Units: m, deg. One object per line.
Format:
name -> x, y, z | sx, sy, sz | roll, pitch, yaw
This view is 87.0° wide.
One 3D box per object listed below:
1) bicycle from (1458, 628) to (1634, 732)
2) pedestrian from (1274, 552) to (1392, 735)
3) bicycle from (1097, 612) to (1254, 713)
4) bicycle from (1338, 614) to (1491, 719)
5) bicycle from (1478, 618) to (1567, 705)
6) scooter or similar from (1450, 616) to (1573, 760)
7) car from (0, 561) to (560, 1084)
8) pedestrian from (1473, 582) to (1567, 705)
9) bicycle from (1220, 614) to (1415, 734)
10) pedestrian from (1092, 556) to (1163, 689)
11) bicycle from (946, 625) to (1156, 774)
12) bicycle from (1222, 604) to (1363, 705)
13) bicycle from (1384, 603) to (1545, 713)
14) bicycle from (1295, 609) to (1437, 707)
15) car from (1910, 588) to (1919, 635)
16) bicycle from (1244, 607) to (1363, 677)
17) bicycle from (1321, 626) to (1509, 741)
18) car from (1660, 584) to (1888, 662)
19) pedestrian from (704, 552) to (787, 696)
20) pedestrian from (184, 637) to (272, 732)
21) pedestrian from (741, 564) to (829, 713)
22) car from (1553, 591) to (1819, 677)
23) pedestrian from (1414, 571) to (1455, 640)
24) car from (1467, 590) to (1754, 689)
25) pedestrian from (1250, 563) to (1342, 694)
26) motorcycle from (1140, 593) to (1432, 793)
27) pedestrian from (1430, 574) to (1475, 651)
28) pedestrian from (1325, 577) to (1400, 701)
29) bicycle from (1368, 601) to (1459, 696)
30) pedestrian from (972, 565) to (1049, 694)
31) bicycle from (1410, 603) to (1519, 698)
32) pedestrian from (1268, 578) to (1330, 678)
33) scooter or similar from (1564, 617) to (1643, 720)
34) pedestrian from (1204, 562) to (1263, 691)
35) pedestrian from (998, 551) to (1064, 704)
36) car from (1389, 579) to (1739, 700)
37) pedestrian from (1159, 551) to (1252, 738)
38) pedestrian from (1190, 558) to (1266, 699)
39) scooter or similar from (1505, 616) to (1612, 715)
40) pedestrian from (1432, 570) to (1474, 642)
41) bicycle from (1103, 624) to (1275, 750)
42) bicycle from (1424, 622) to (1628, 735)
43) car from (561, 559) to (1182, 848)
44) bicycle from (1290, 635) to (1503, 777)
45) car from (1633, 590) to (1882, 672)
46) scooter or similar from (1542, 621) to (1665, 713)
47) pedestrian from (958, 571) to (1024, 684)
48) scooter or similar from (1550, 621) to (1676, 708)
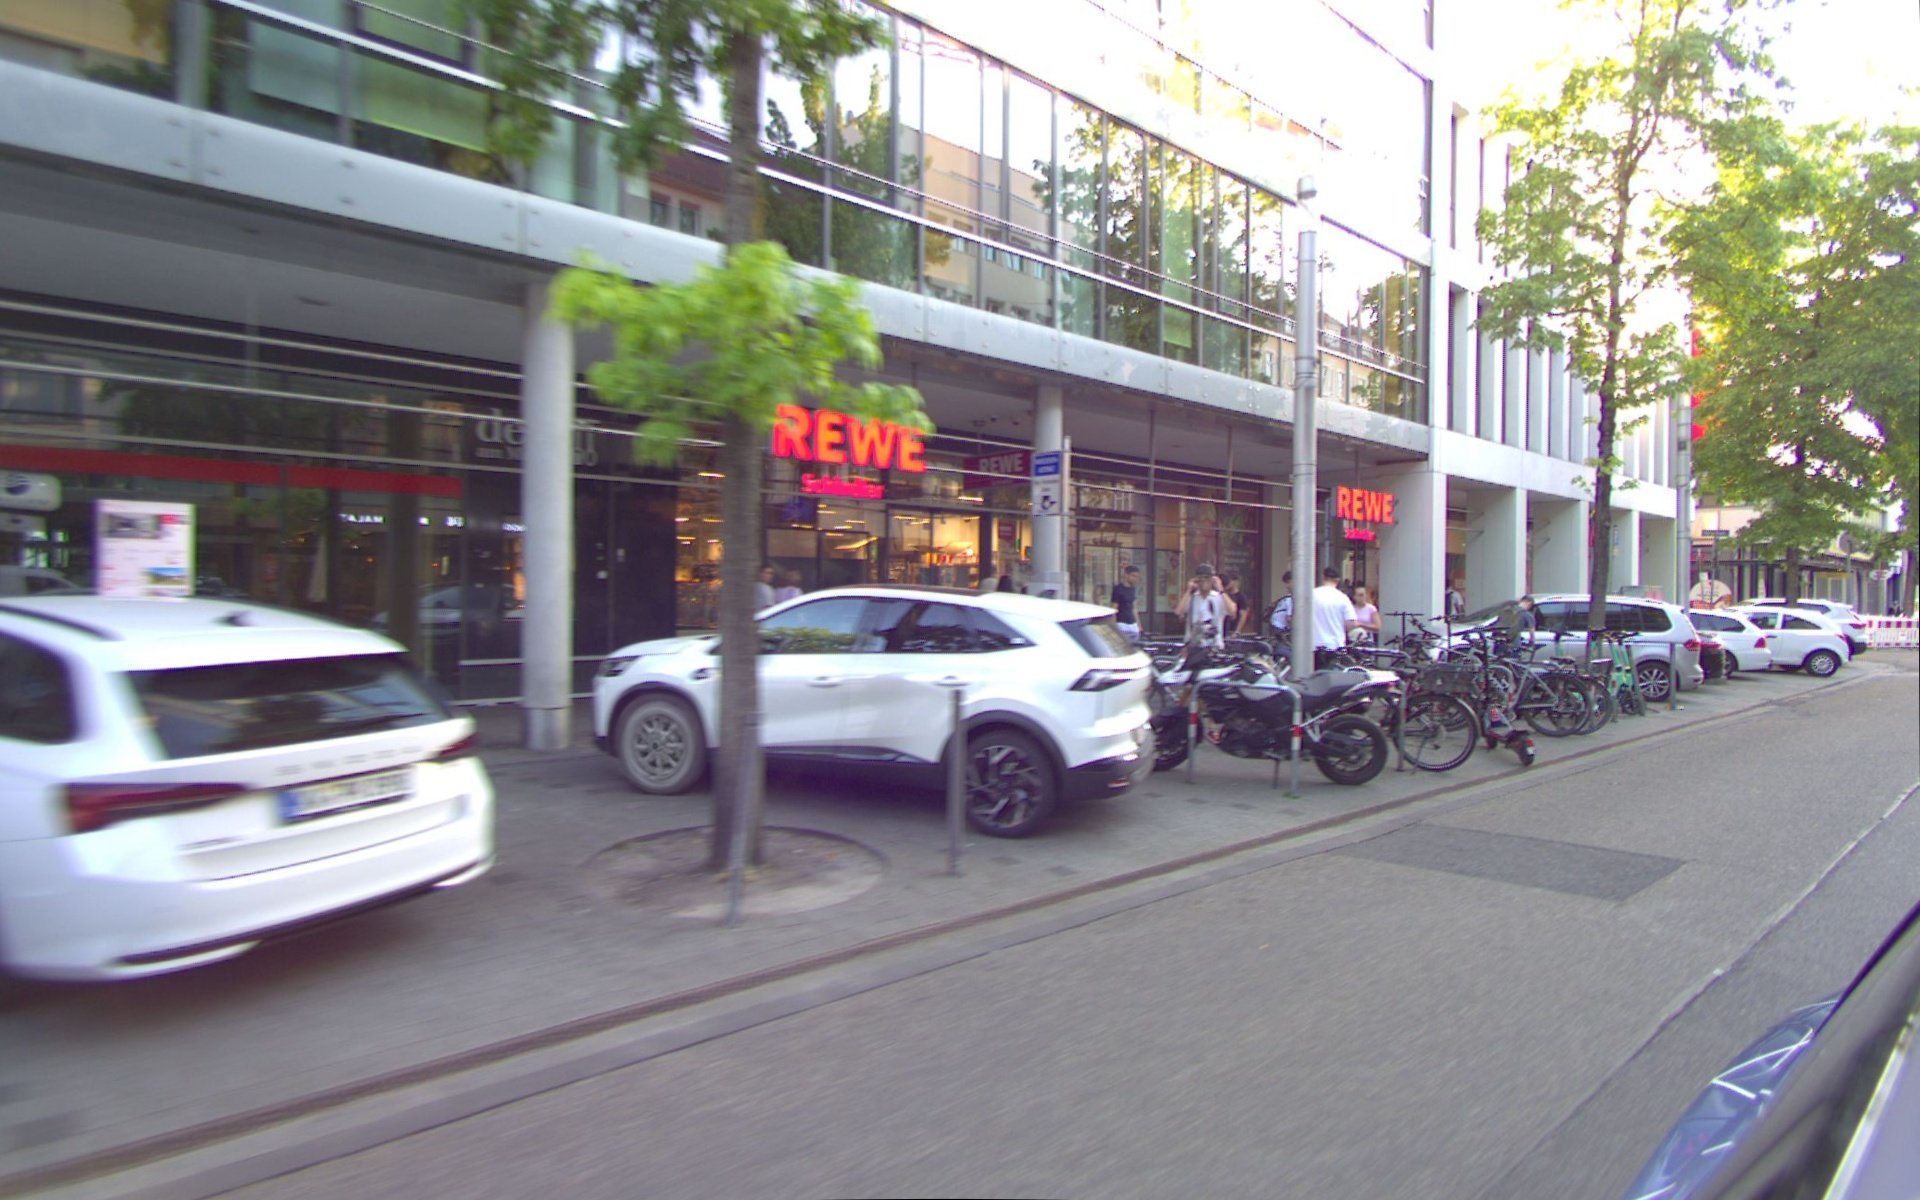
bicycle -> 7.034, 0.938, 12.226 | 1.727, 1.089, 0.491 | 3, 1, 20
pedestrian -> 4.232, 0.455, 11.473 | 0.948, 1.937, 0.851 | 4, 2, 38
bicycle -> 2.693, 0.749, 12.610 | 1.809, 1.108, 0.819 | 2, 1, 19
bicycle -> 5.684, 0.803, 12.705 | 1.673, 1.153, 0.473 | 3, 1, 30
bicycle -> 8.211, 0.859, 14.855 | 0.622, 1.089, 1.872 | 3, 1, 14
scooter or similar -> 5.649, 0.851, 10.448 | 0.686, 1.320, 1.389 | 2, 1, 11
car -> -4.160, 0.630, 4.916 | 4.145, 1.475, 1.847 | 4, 3, 27
pedestrian -> 7.835, 0.594, 14.173 | 0.753, 1.646, 0.794 | 1, 1, -22
bicycle -> 4.106, 0.808, 11.688 | 1.985, 1.162, 0.690 | 4, 1, 32
pedestrian -> 2.400, 0.309, 14.514 | 0.703, 1.835, 0.660 | 1, 1, -36
bicycle -> 0.833, 0.843, 9.065 | 1.725, 1.131, 0.914 | 2, 1, 16
bicycle -> 4.398, 0.707, 13.476 | 1.670, 1.204, 0.553 | 3, 1, 12
bicycle -> 6.706, 0.735, 13.486 | 1.819, 1.289, 0.673 | 3, 1, 32
bicycle -> 5.516, 0.759, 13.802 | 1.685, 1.164, 0.495 | 3, 1, 35
car -> 39.264, 0.501, 39.879 | 4.585, 1.793, 1.999 | 0, 3, -39
bicycle -> 5.672, 0.691, 16.709 | 1.843, 1.096, 0.575 | 1, 1, -18
bicycle -> 5.062, 0.907, 11.375 | 1.809, 1.089, 0.620 | 4, 1, 18
car -> 21.128, 0.535, 26.527 | 4.230, 1.692, 1.936 | 3, 3, 26
pedestrian -> -2.670, 0.275, 12.600 | 0.791, 1.720, 0.663 | -1, 0, -41
pedestrian -> -6.876, 0.773, 9.504 | 0.652, 0.792, 0.609 | -1, 1, -38
pedestrian -> -2.098, 0.436, 12.152 | 0.791, 1.720, 0.681 | -1, 0, -41
car -> 15.297, 0.656, 21.668 | 4.310, 1.440, 1.812 | 4, 2, 27
pedestrian -> 12.127, 0.140, 25.884 | 0.791, 1.721, 0.681 | 2, -2, -41
car -> 12.045, 0.656, 19.131 | 4.311, 1.440, 1.936 | 4, 3, 28
pedestrian -> 4.856, 0.390, 14.694 | 0.919, 1.835, 0.889 | 2, 1, -5
motorcycle -> 2.672, 0.732, 8.527 | 2.167, 1.490, 0.795 | 2, 0, 6
pedestrian -> 11.616, 0.297, 23.864 | 0.791, 1.794, 0.681 | 2, -2, -41
pedestrian -> 5.532, 0.517, 13.934 | 0.647, 1.644, 0.707 | 2, 1, -5
bicycle -> 6.857, 0.704, 15.378 | 0.569, 1.304, 1.595 | 2, 1, -1
pedestrian -> 0.693, 0.402, 13.958 | 0.791, 1.721, 0.681 | 2, -2, -41
bicycle -> 7.444, 0.711, 15.019 | 0.628, 1.265, 1.664 | 2, 1, -5
pedestrian -> 5.574, 0.444, 16.663 | 0.618, 1.591, 0.765 | 0, 1, -18
scooter or similar -> 8.413, 0.864, 13.223 | 1.192, 1.237, 0.483 | 0, 3, -40
pedestrian -> 3.917, 0.358, 14.524 | 0.706, 1.775, 0.729 | 2, 1, 12
pedestrian -> 0.869, 0.321, 12.582 | 0.647, 1.835, 0.793 | 2, 1, -5
car -> 9.911, 0.580, 17.058 | 4.608, 1.660, 1.947 | 3, 2, 15
pedestrian -> 2.544, 0.442, 10.553 | 0.806, 1.835, 0.598 | 4, 1, 11
pedestrian -> 3.588, 0.371, 13.601 | 0.702, 1.835, 0.661 | 2, 1, -10
scooter or similar -> 7.914, 0.849, 13.383 | 1.255, 1.220, 0.571 | 1, 1, -26
pedestrian -> 12.119, 0.158, 24.885 | 0.791, 1.721, 0.681 | 2, -2, -41
bicycle -> 2.318, 0.849, 10.252 | 1.578, 1.046, 0.550 | 5, 2, 21
bicycle -> 6.664, 0.896, 12.034 | 1.969, 1.144, 0.676 | 3, 1, 20
car -> -0.605, 0.573, 7.669 | 4.286, 1.582, 1.867 | 3, 3, 18
bicycle -> 4.029, 0.953, 9.498 | 1.727, 1.131, 0.802 | 2, 1, 18
car -> 18.050, 0.650, 23.144 | 4.018, 1.519, 1.785 | 3, 3, 20
scooter or similar -> 8.860, 0.905, 13.970 | 1.312, 1.196, 0.497 | 1, 0, 13
pedestrian -> 0.443, 0.373, 14.494 | 0.653, 1.567, 0.681 | -1, 0, -41
scooter or similar -> 9.398, 0.918, 14.597 | 1.376, 1.164, 0.579 | 2, 0, 4
